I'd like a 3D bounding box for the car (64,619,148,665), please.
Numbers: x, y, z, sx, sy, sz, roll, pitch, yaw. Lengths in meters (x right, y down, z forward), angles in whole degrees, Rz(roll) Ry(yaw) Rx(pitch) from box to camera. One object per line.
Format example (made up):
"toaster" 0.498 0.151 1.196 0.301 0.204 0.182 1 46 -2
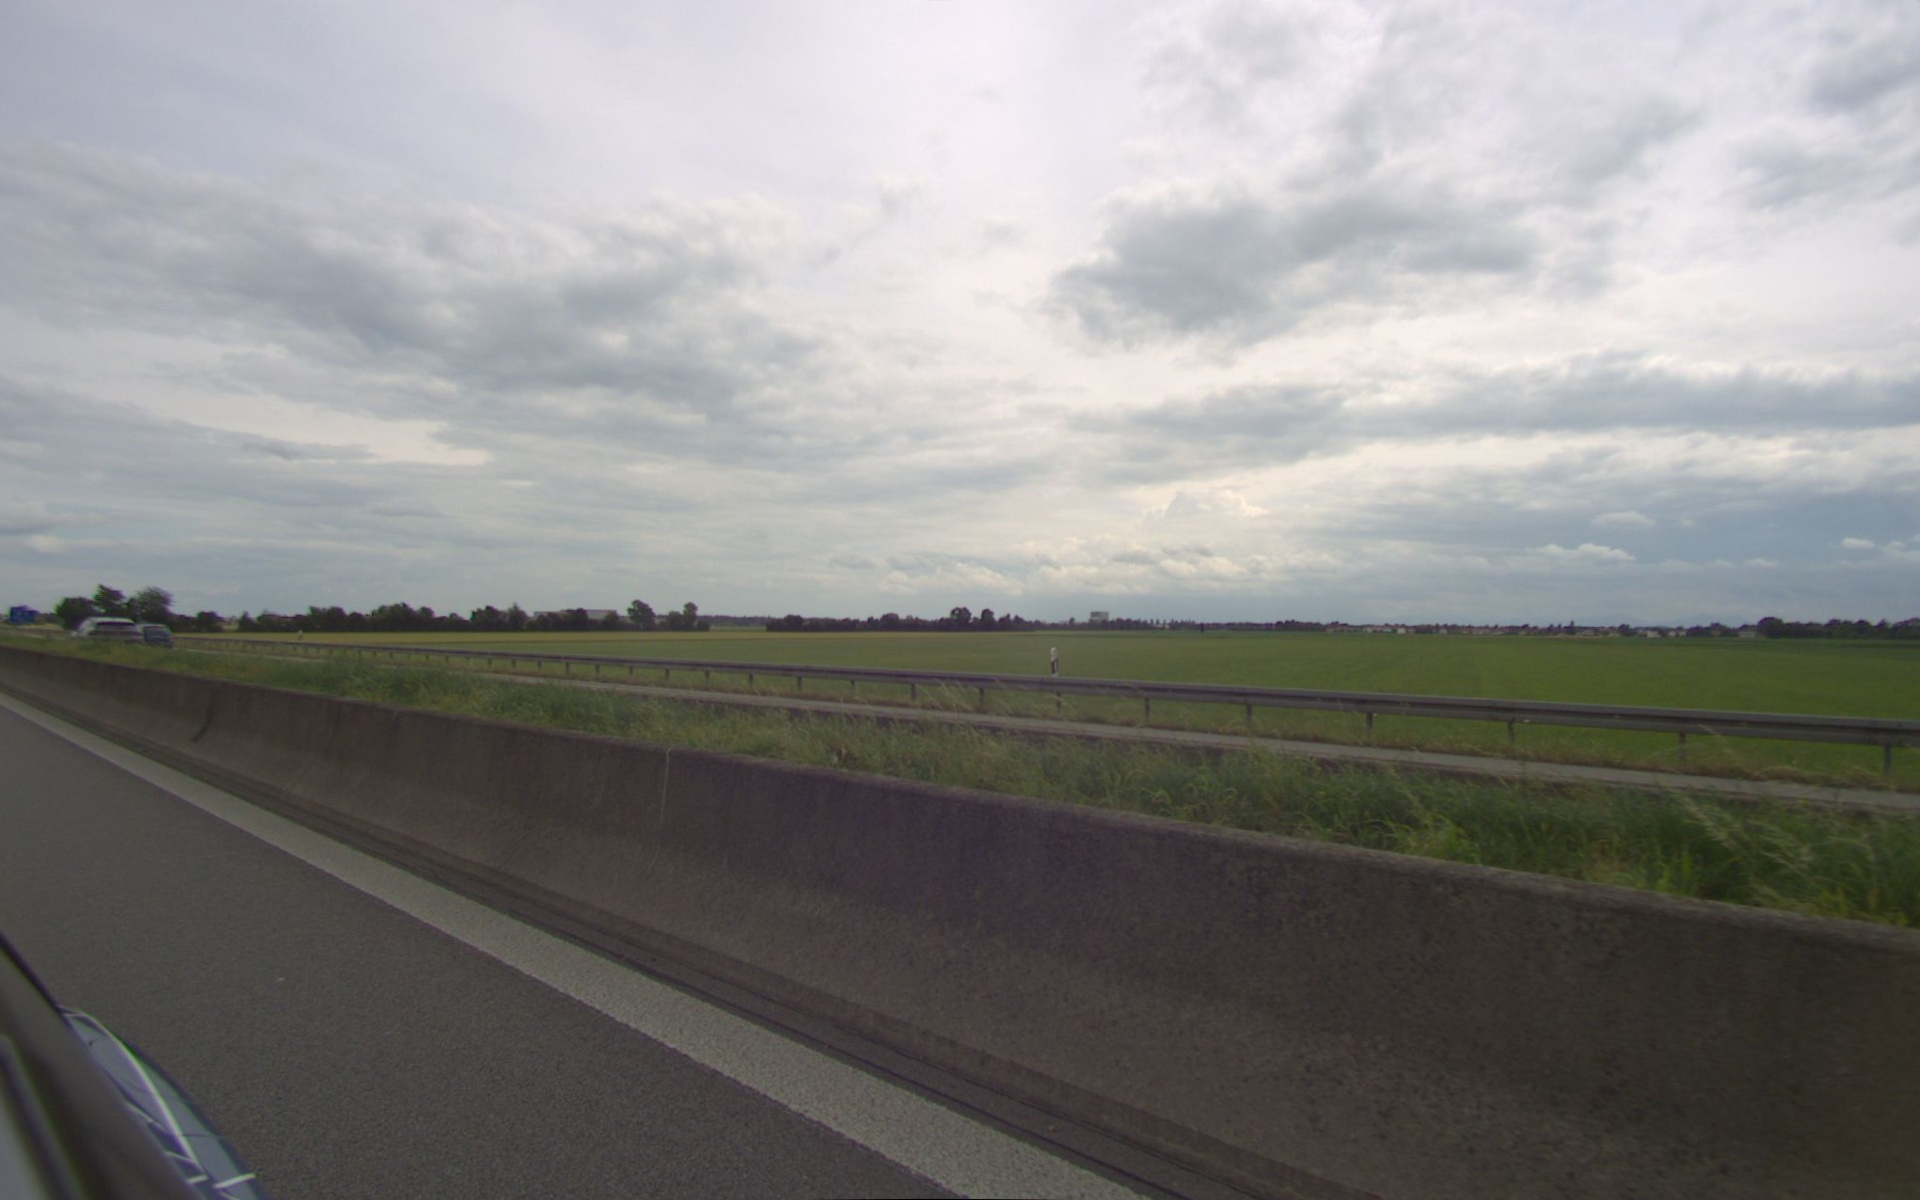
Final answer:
"car" -33.437 1.628 39.602 4.356 1.707 1.822 -1 -3 41

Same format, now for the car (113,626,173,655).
"car" -44.156 2.174 54.651 4.528 1.499 1.728 -1 -3 41
